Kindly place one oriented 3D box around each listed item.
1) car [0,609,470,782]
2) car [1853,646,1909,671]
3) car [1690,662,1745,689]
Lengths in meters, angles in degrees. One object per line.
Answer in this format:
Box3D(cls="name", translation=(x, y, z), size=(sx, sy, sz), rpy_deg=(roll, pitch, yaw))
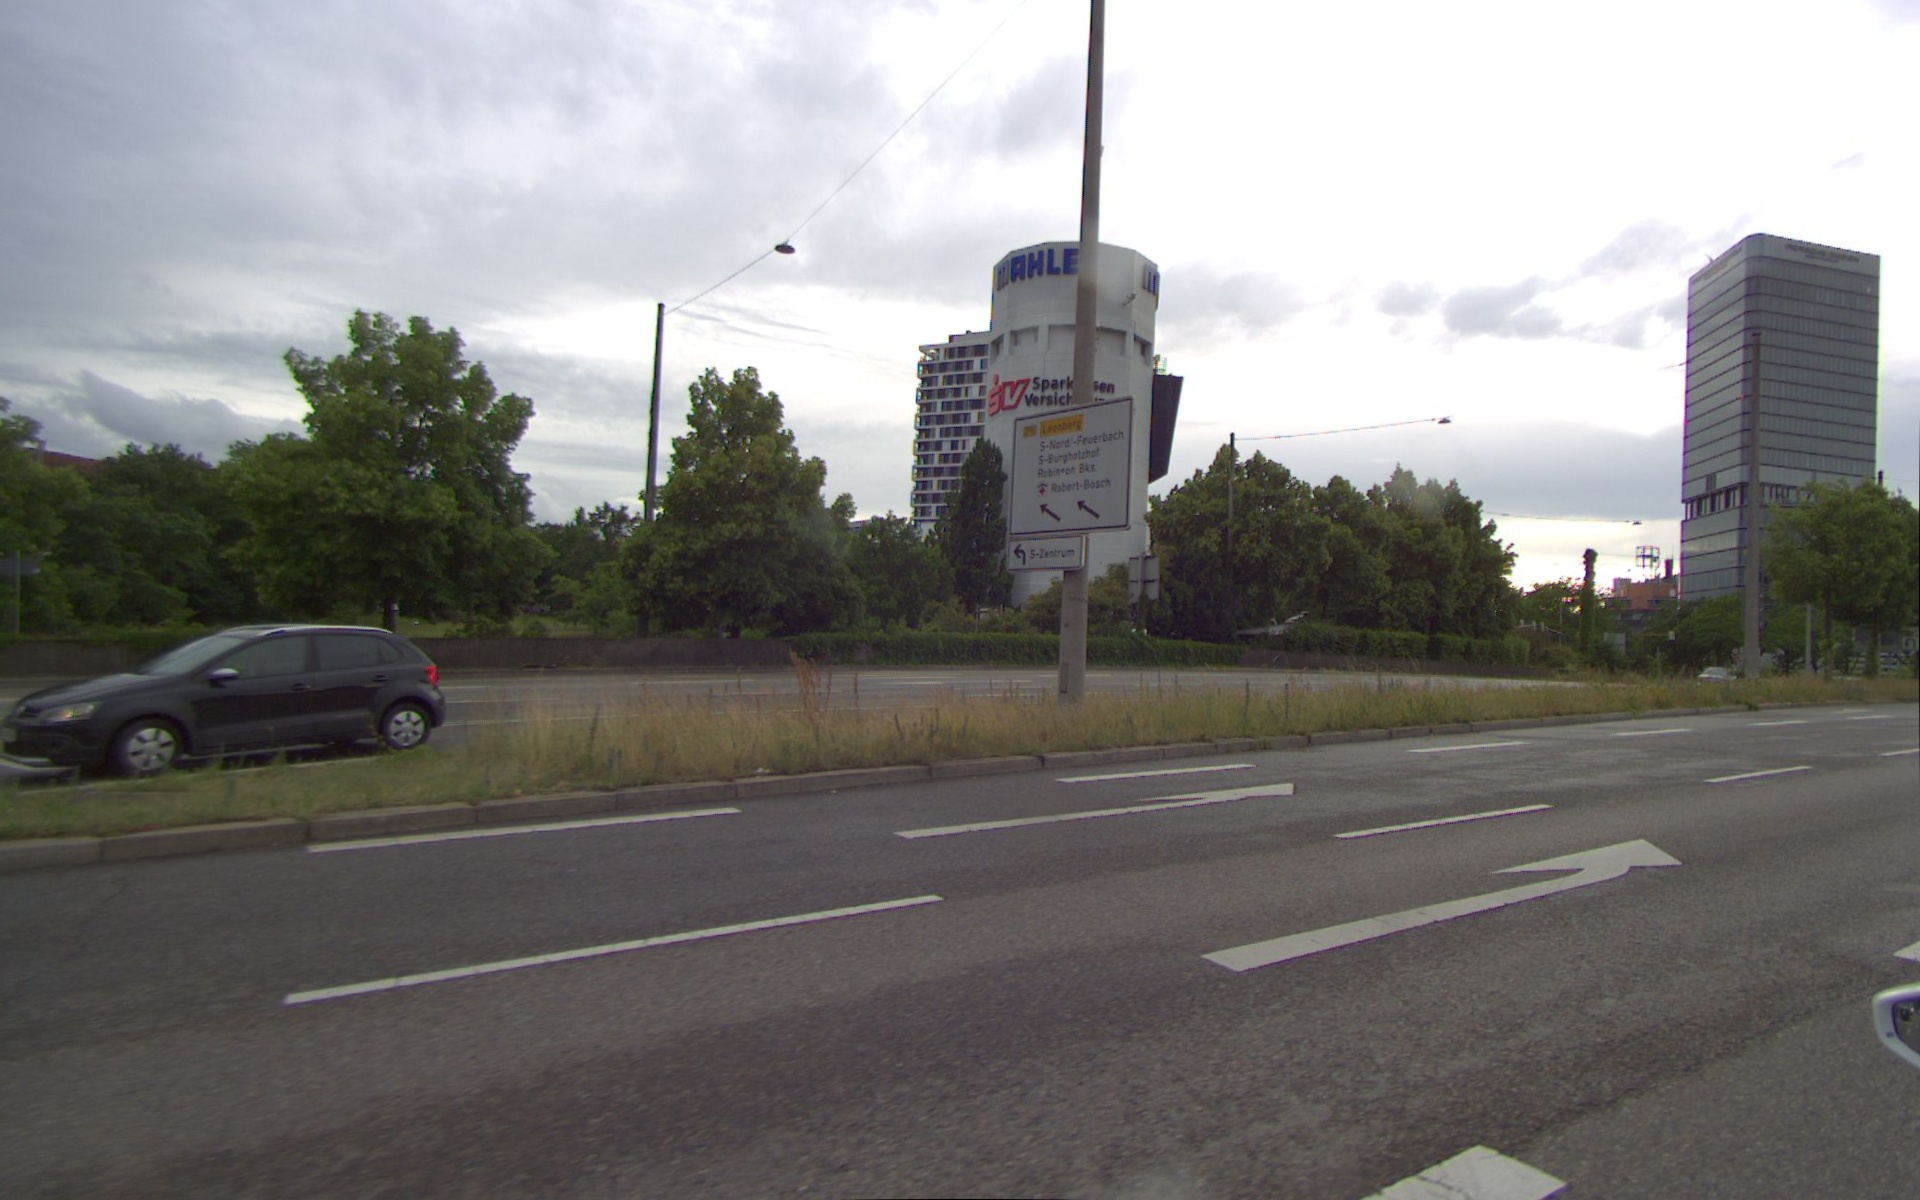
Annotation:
Box3D(cls="car", translation=(-7.844, 0.920, 11.069), size=(1.864, 1.527, 3.988), rpy_deg=(-1, -2, 34))
Box3D(cls="car", translation=(68.365, 4.343, 74.541), size=(4.553, 1.680, 1.883), rpy_deg=(3, -2, -31))
Box3D(cls="car", translation=(45.521, 4.530, 60.338), size=(3.640, 1.379, 1.583), rpy_deg=(1, 1, -35))
